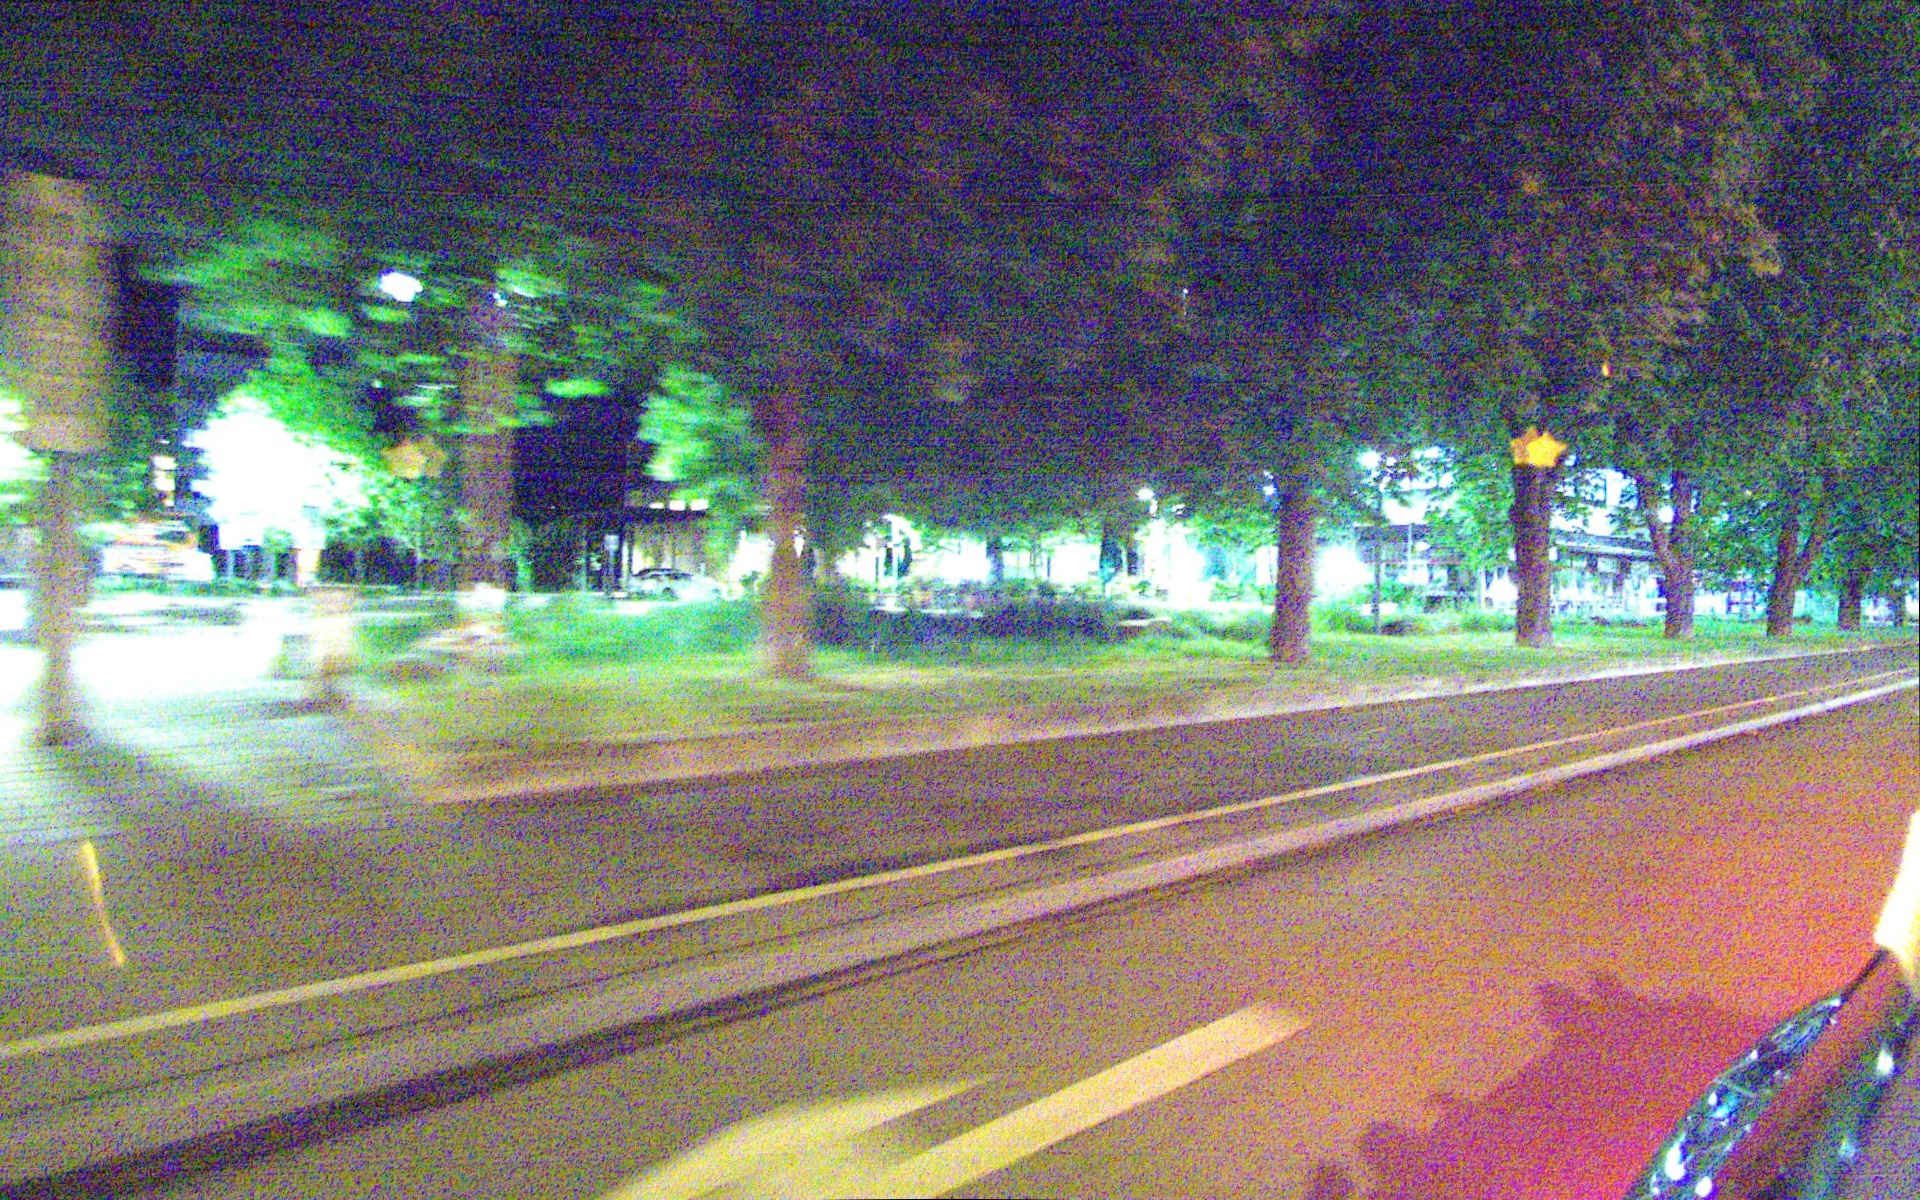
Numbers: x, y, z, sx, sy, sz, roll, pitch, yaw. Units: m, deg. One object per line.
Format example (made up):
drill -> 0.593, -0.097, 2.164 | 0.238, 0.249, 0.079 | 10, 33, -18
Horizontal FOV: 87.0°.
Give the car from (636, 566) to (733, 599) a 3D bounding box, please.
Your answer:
car -> -13.765, -0.868, 50.582 | 4.223, 1.527, 1.998 | 1, 2, -39
